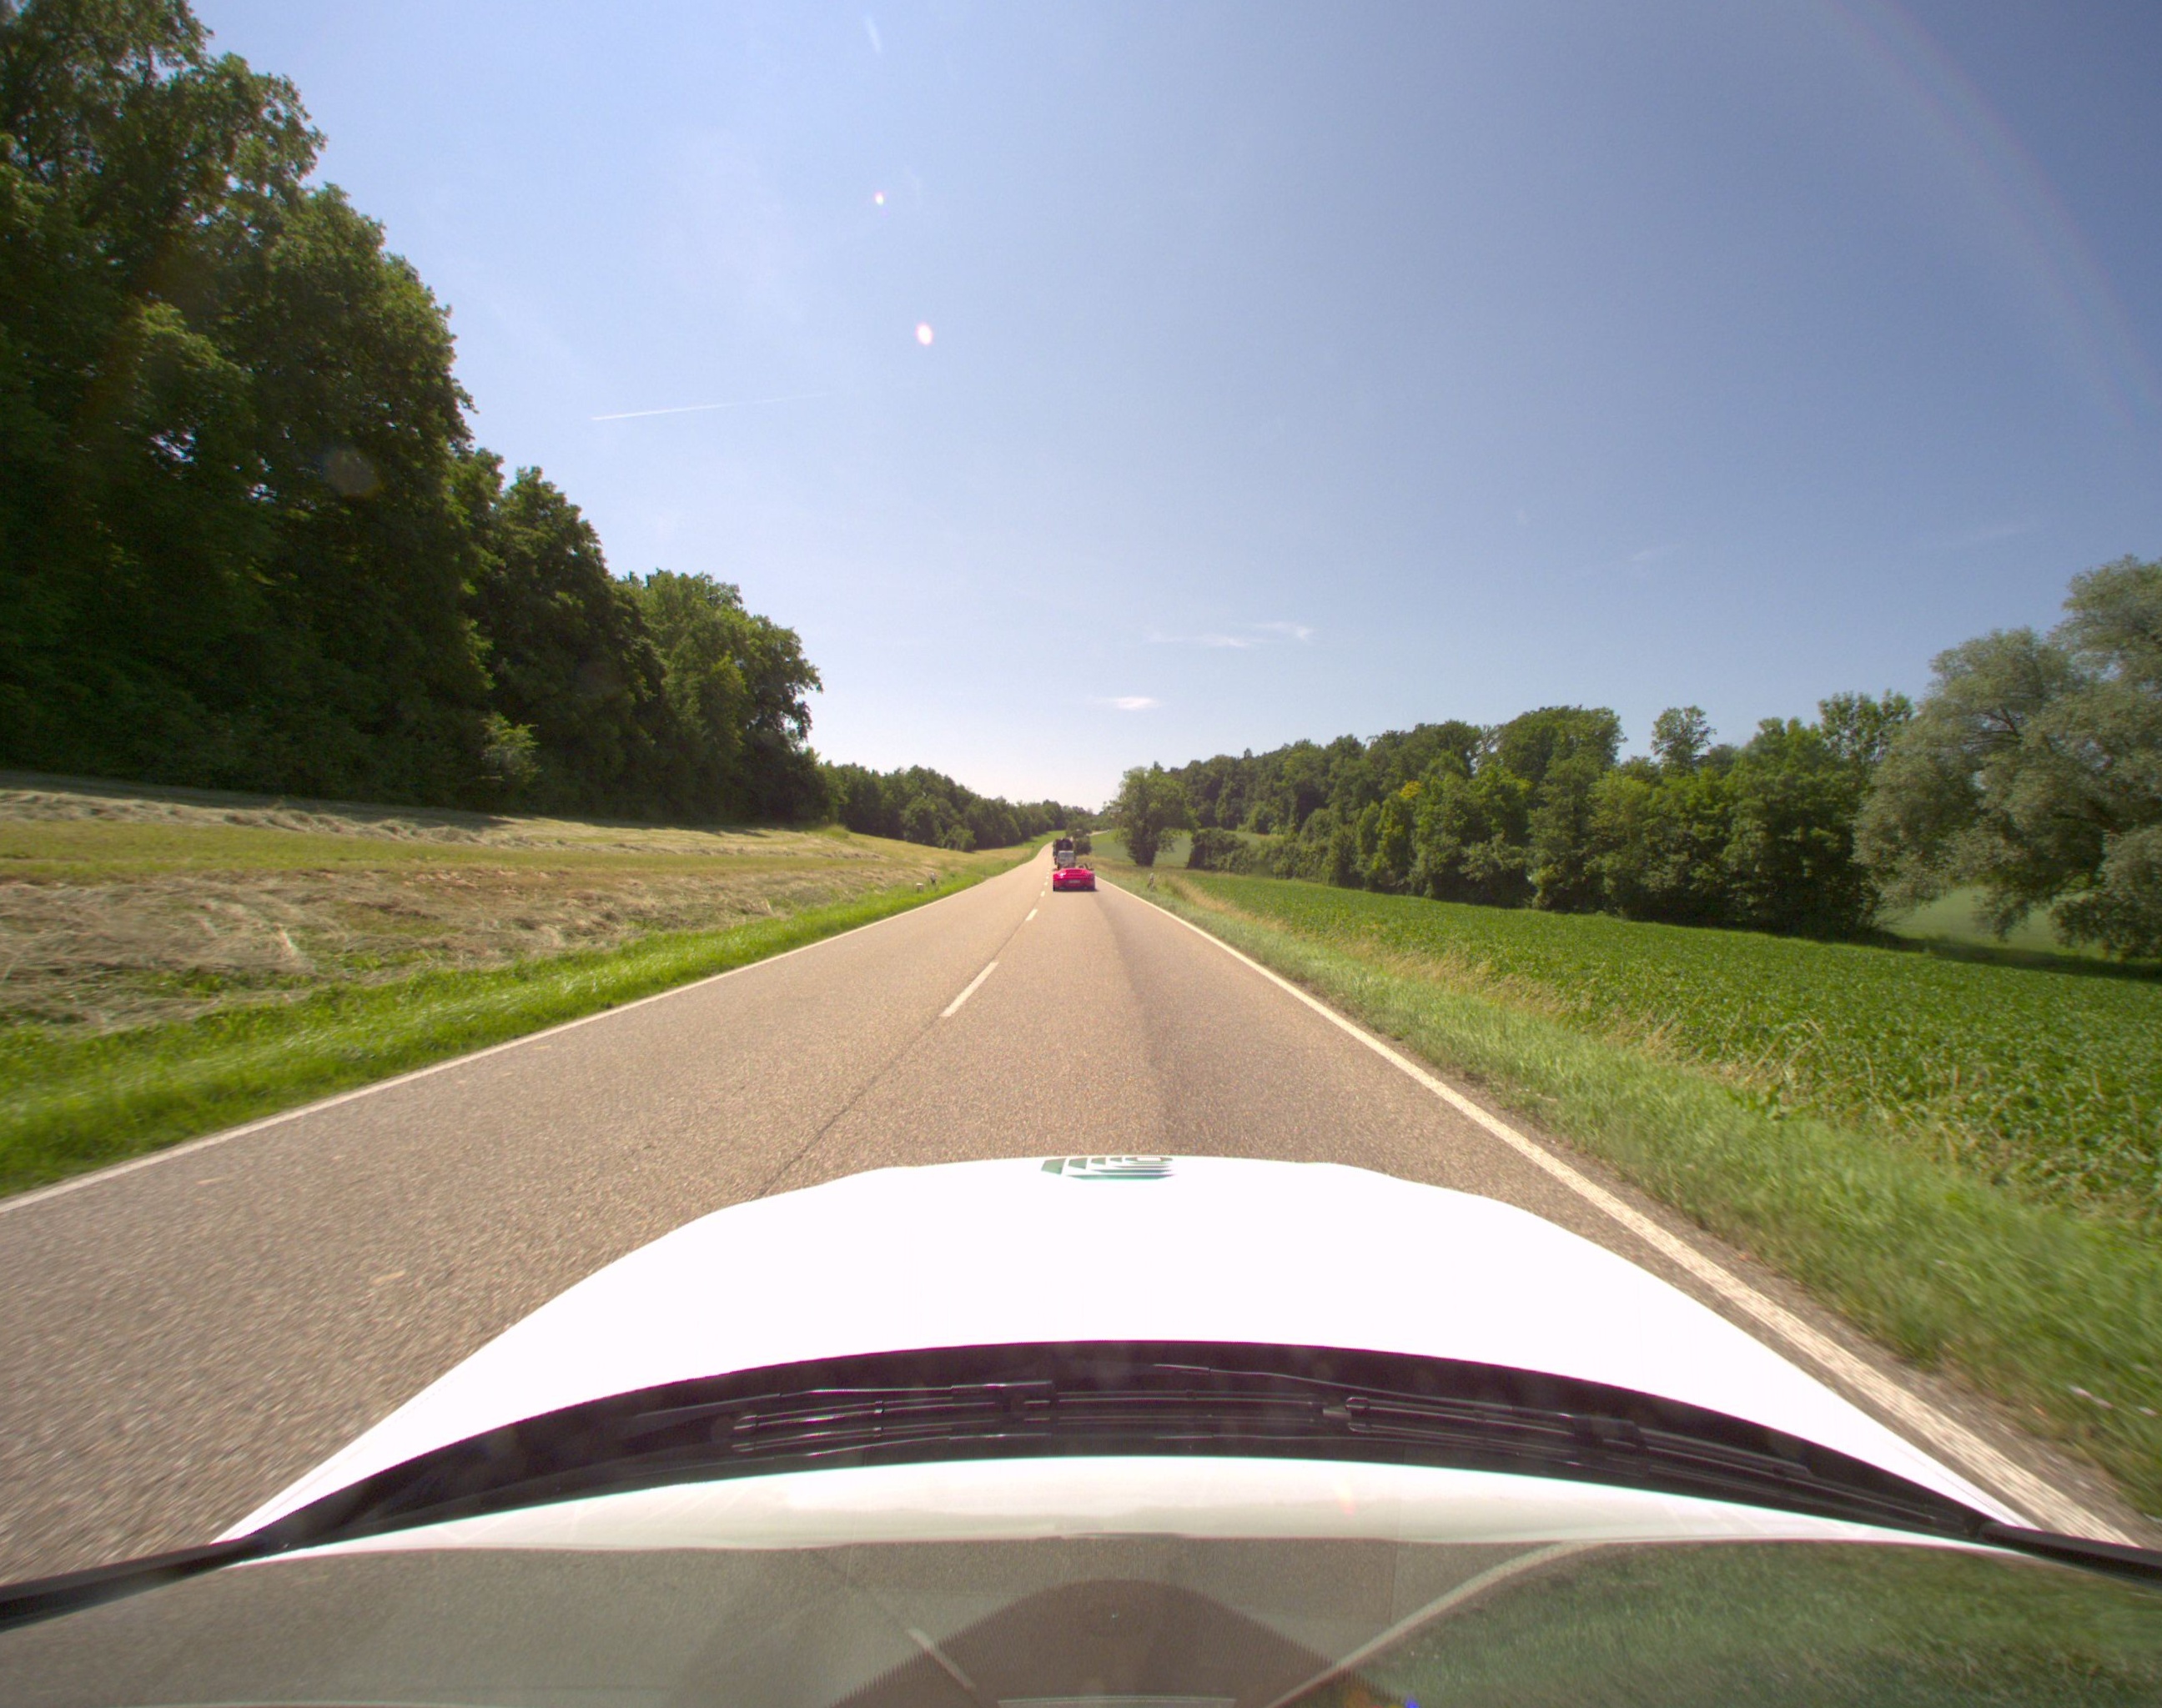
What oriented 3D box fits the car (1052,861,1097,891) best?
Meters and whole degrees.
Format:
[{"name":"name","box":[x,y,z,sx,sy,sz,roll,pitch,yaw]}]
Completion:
[{"name":"car","box":[-0.321,0.965,36.977,1.877,1.255,4.007,-1,-1,-1]}]

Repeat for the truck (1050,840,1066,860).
[{"name":"truck","box":[-5.854,-1.096,207.188,3.717,4.659,12.019,0,3,-3]}]

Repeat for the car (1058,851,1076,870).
[{"name":"car","box":[-1.442,0.664,84.919,1.673,1.900,4.010,-1,0,1]}]

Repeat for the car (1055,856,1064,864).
[{"name":"car","box":[-4.434,1.310,167.612,1.718,1.585,4.157,-1,0,-2]}]

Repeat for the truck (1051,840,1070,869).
[{"name":"truck","box":[-3.094,-0.090,121.147,2.398,4.049,12.537,-1,1,-3]}]
